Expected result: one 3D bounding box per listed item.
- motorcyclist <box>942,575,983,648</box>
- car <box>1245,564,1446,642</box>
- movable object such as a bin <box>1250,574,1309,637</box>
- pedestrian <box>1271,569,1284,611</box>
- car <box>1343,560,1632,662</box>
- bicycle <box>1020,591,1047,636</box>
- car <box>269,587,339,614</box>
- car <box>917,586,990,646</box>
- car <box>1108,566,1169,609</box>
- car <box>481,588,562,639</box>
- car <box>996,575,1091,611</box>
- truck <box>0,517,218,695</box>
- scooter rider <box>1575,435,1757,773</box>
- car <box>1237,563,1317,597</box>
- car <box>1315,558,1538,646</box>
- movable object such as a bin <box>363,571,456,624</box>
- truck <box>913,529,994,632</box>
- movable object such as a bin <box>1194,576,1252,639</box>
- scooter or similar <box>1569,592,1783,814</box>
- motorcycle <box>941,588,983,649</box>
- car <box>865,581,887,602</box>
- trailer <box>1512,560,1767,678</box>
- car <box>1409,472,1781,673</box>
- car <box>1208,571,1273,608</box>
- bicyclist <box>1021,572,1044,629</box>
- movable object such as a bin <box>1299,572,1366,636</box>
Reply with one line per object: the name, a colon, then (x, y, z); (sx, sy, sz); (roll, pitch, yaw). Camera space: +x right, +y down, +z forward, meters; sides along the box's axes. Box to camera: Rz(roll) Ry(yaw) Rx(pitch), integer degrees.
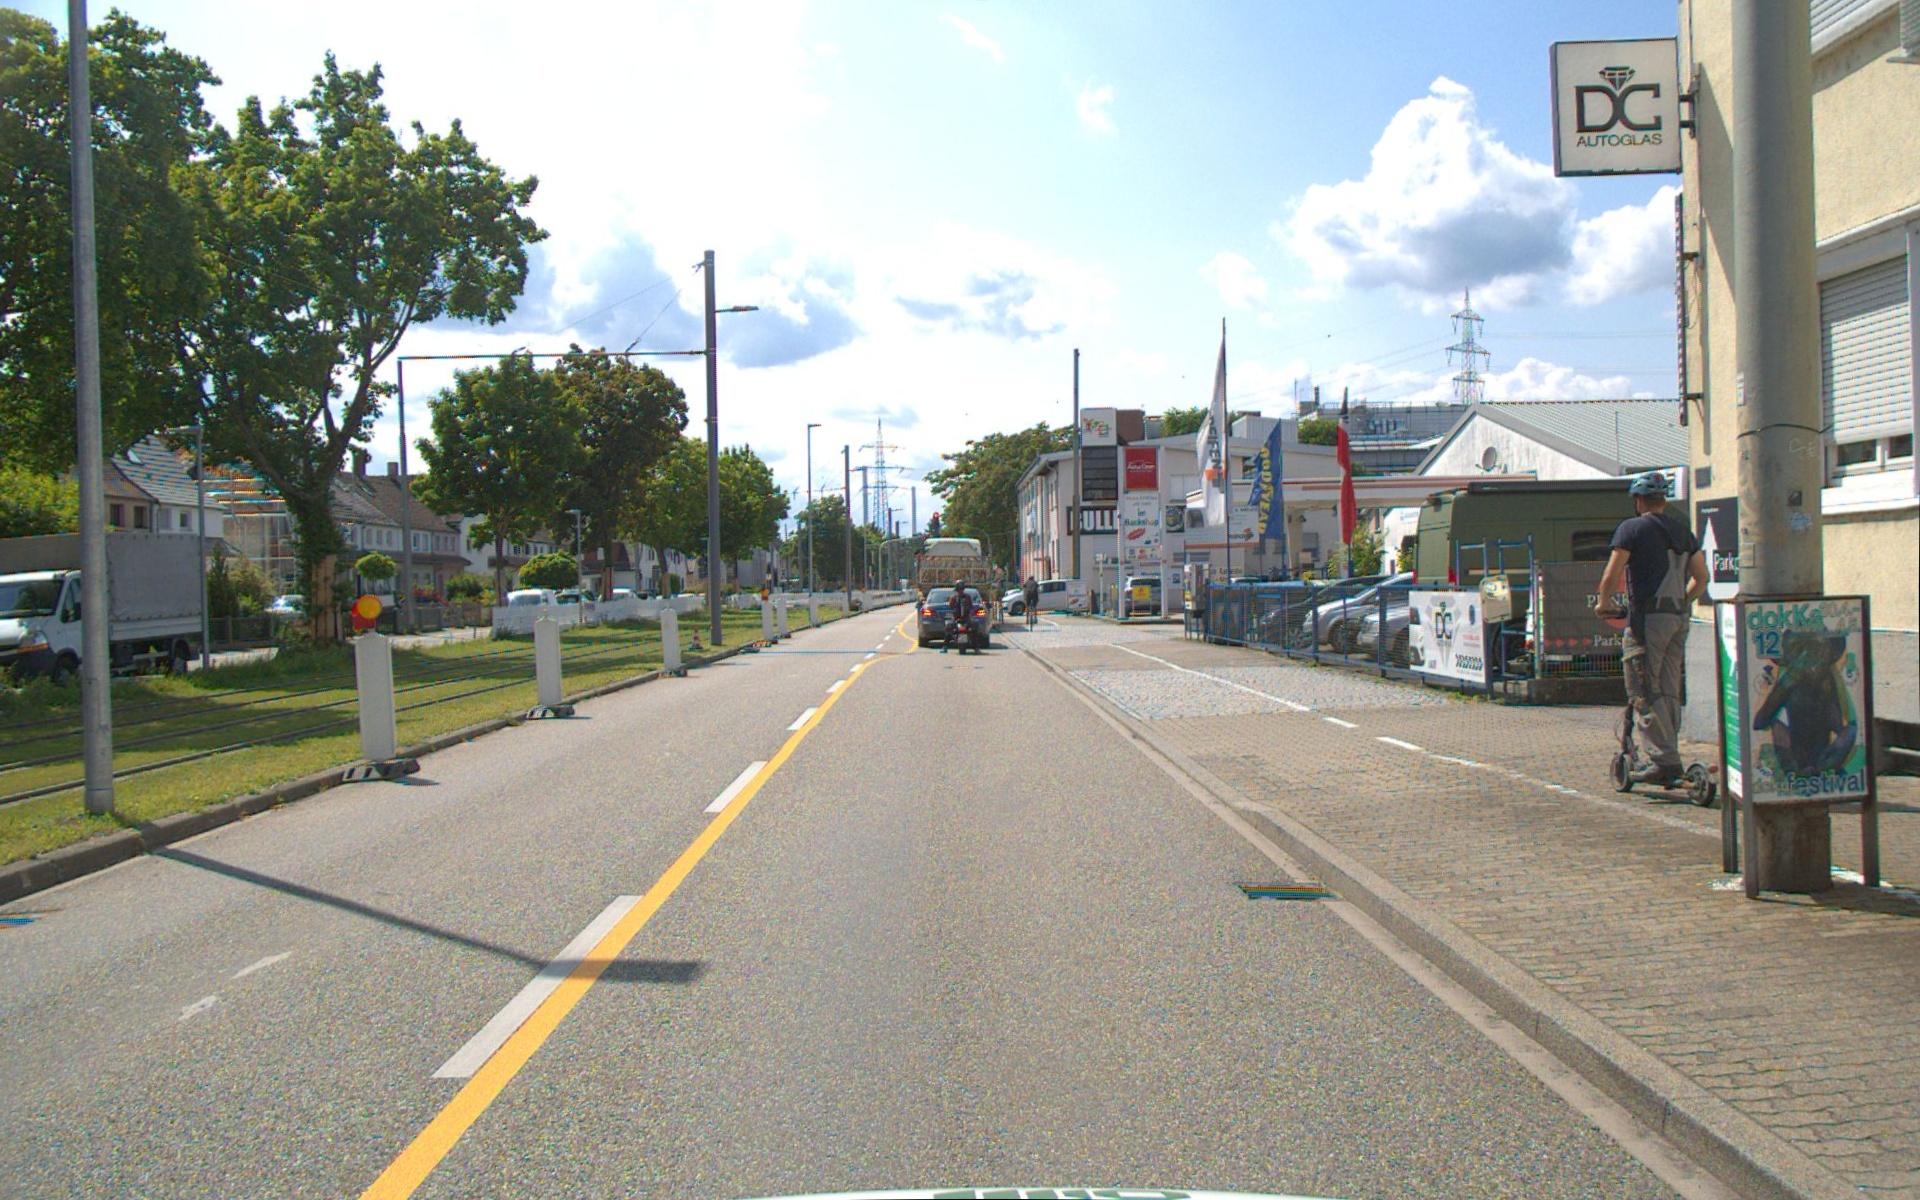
motorcyclist: (0.049, 0.254, 38.029); (0.920, 1.643, 1.205); (1, 0, -1)
car: (7.970, 0.066, 34.114); (3.903, 1.468, 1.712); (-2, 0, 17)
movable object such as a bin: (7.743, 0.134, 40.101); (1.230, 1.469, 0.824); (-2, 0, 0)
pedestrian: (13.117, -0.431, 68.428); (0.388, 1.718, 0.485); (-2, 0, 0)
car: (8.322, 0.168, 26.405); (4.095, 1.456, 1.822); (-2, 0, 6)
bicycle: (2.364, 0.409, 53.350); (0.678, 1.385, 2.418); (-2, 1, -1)
car: (-27.964, 0.020, 70.664); (1.652, 1.071, 3.976); (-2, 0, -5)
car: (-0.167, 0.378, 42.682); (1.784, 1.449, 4.000); (-1, 1, -1)
car: (7.470, -0.511, 69.570); (1.920, 1.677, 3.998); (-2, 0, -3)
car: (-16.451, 0.481, 62.213); (1.953, 1.780, 3.999); (-2, 0, -1)
car: (4.029, -0.344, 80.197); (4.250, 1.578, 1.946); (-2, 0, -9)
truck: (-15.829, 0.101, 29.810); (1.953, 2.815, 6.275); (-4, 1, -1)
scooter rider: (4.382, 0.027, 10.318); (0.702, 1.997, 0.785); (-3, -1, 0)
car: (17.249, -1.093, 90.057); (3.906, 1.677, 1.965); (-2, 0, -1)
car: (8.756, 0.038, 31.234); (3.902, 1.522, 1.752); (-2, 0, 15)
movable object such as a bin: (-27.630, -0.153, 83.022); (4.277, 2.492, 1.777); (-2, 1, -23)
truck: (-0.197, -0.778, 59.013); (2.557, 3.312, 9.183); (-2, 2, 0)
movable object such as a bin: (6.393, 0.173, 40.194); (1.230, 1.469, 0.824); (-2, 0, 0)
scooter or similar: (4.334, 0.581, 10.128); (0.529, 1.216, 1.610); (-3, 0, -1)
motorcycle: (0.043, 0.409, 38.210); (0.920, 1.343, 2.644); (1, 0, -1)
car: (-6.301, -0.670, 124.457); (1.621, 1.472, 4.301); (-2, 1, -2)
trailer: (8.774, 0.236, 21.468); (2.725, 1.356, 1.303); (-3, 0, 0)
car: (8.933, -0.377, 23.596); (4.443, 2.618, 2.151); (-2, 0, 1)
car: (11.890, -0.418, 70.342); (1.920, 1.445, 3.998); (-2, 0, -3)
bicyclist: (2.321, 0.012, 53.203); (0.657, 1.774, 0.813); (-1, 0, -1)
movable object such as a bin: (9.042, 0.095, 40.144); (1.295, 1.469, 0.953); (-2, 0, -8)
